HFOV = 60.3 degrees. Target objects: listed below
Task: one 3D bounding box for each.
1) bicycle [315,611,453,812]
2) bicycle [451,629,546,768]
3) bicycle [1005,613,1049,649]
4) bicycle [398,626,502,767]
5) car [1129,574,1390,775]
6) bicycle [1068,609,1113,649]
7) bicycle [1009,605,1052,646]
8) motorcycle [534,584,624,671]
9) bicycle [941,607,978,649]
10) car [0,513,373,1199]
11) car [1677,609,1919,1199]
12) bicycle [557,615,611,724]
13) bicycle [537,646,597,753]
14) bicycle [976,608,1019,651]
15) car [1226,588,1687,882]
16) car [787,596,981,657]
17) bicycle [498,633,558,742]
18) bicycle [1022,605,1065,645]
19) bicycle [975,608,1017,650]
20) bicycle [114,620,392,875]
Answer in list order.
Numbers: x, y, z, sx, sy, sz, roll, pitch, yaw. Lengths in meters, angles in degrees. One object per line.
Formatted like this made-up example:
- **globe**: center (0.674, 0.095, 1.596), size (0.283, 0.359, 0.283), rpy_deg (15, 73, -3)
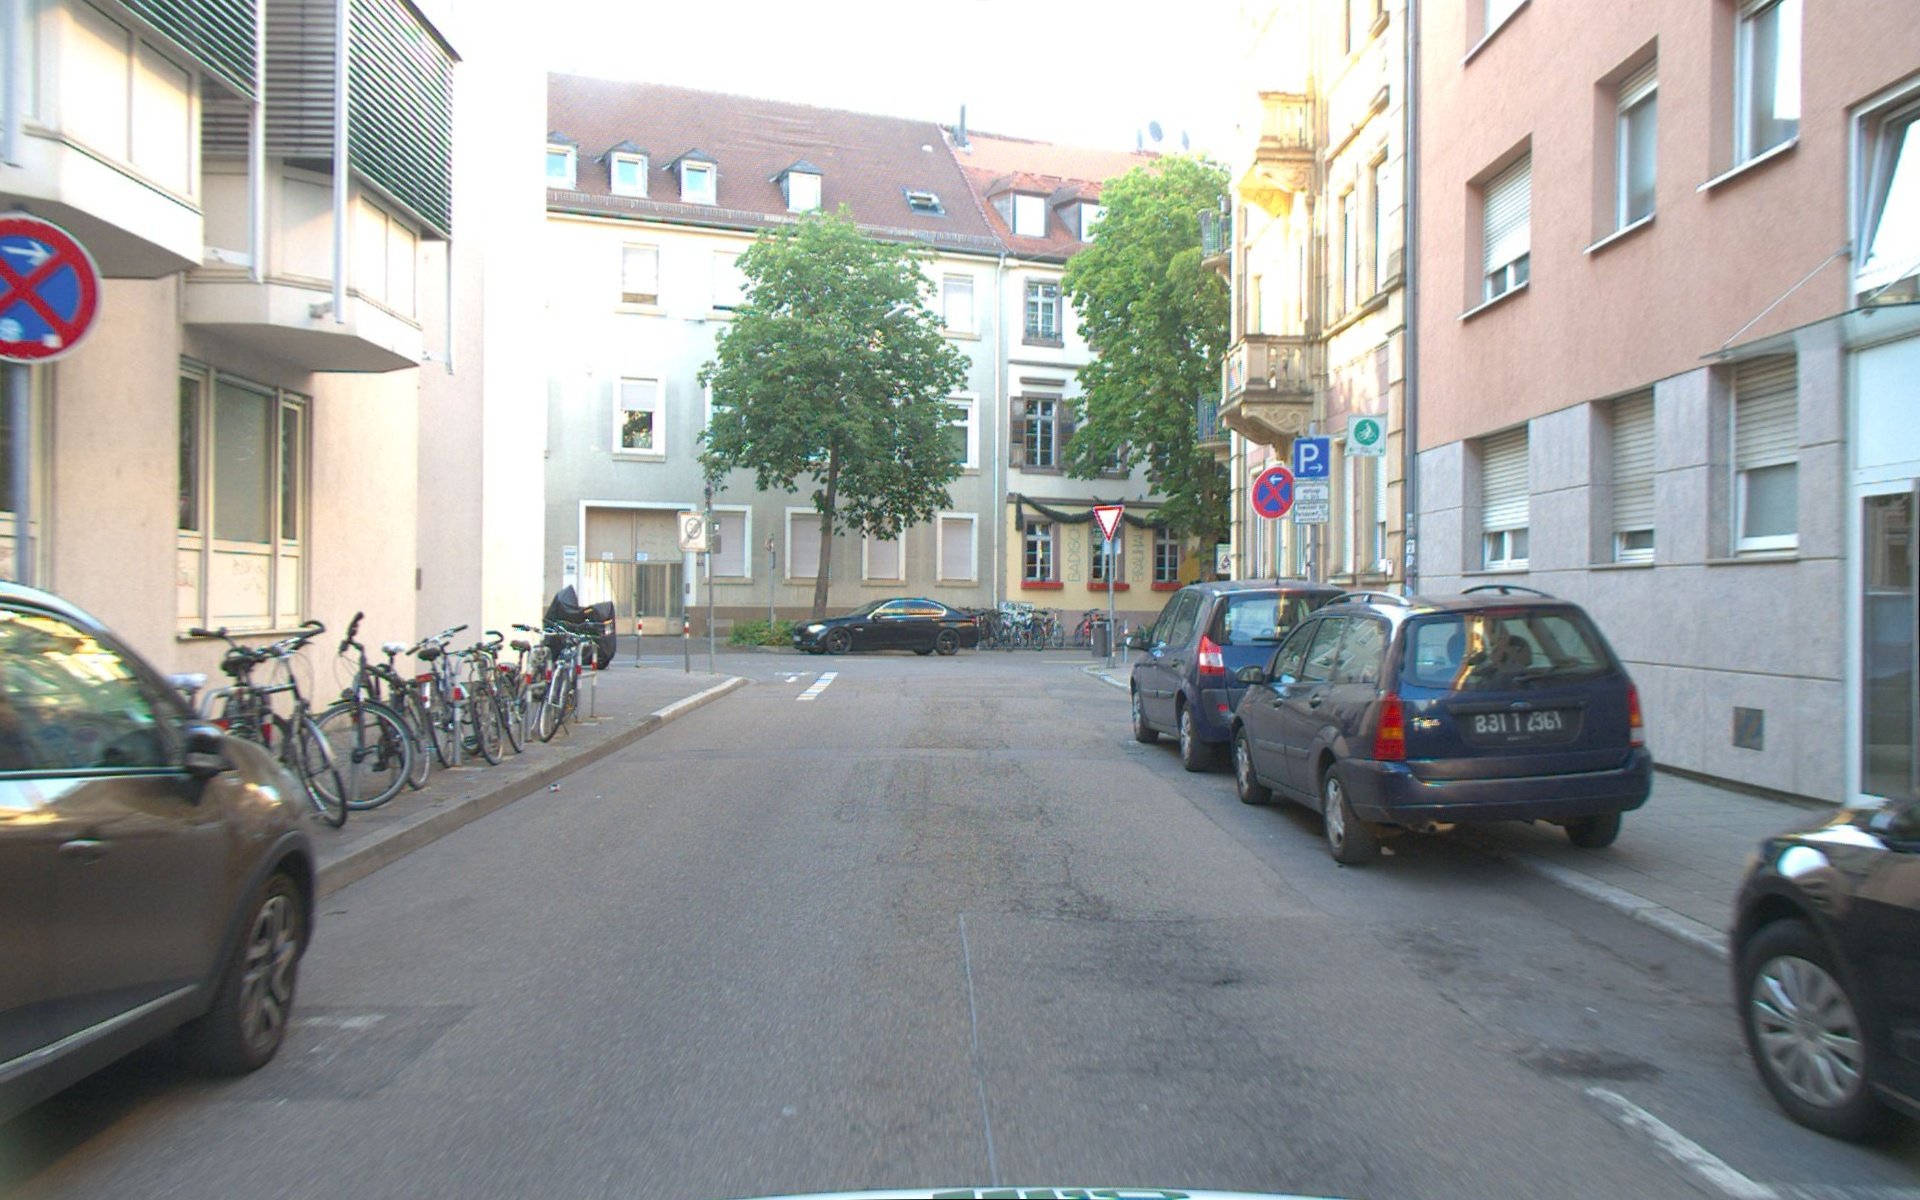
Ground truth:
- **bicycle**: center (-3.895, 0.705, 11.297), size (0.300, 1.244, 1.813), rpy_deg (1, 0, 0)
- **bicycle**: center (-3.883, 0.793, 14.020), size (0.300, 1.060, 1.813), rpy_deg (0, 0, 0)
- **bicycle**: center (1.924, 0.880, 47.573), size (0.414, 1.021, 2.027), rpy_deg (0, 0, -24)
- **bicycle**: center (-4.215, 0.765, 13.766), size (0.300, 1.060, 1.813), rpy_deg (1, 0, 0)
- **car**: center (2.681, 0.608, 15.669), size (1.655, 1.653, 4.053), rpy_deg (0, 0, -1)
- **bicycle**: center (3.846, 0.839, 48.738), size (0.414, 1.165, 2.027), rpy_deg (0, 0, -24)
- **bicycle**: center (2.074, 0.747, 48.979), size (0.414, 1.165, 2.027), rpy_deg (0, 0, -24)
- **motorcycle**: center (-7.162, 0.503, 31.037), size (0.664, 1.583, 2.128), rpy_deg (0, 0, -43)
- **bicycle**: center (-0.030, 0.799, 47.983), size (0.438, 1.165, 2.030), rpy_deg (0, 0, -19)
- **car**: center (-2.961, 0.611, 4.059), size (1.755, 1.604, 4.068), rpy_deg (0, 0, -3)
- **car**: center (3.274, 0.780, 3.501), size (1.655, 1.483, 4.131), rpy_deg (0, 0, -1)
- **bicycle**: center (-4.163, 0.744, 18.369), size (0.392, 1.121, 1.810), rpy_deg (1, 0, -7)
- **bicycle**: center (-3.903, 0.962, 16.487), size (0.301, 0.948, 1.811), rpy_deg (1, 0, -4)
- **bicycle**: center (1.037, 0.808, 46.558), size (0.439, 1.165, 2.028), rpy_deg (0, 0, -22)
- **car**: center (2.955, 0.702, 10.829), size (1.655, 1.540, 4.282), rpy_deg (0, 0, -1)
- **car**: center (-1.912, 0.636, 41.734), size (4.589, 1.475, 1.756), rpy_deg (0, 0, -23)
- **bicycle**: center (-4.182, 0.823, 16.075), size (0.301, 0.948, 1.810), rpy_deg (1, 0, -7)
- **bicycle**: center (2.489, 0.721, 49.278), size (0.414, 1.165, 2.027), rpy_deg (0, 0, -24)
- **bicycle**: center (1.036, 0.835, 48.317), size (0.414, 1.165, 2.027), rpy_deg (0, 0, -24)
- **bicycle**: center (-3.845, 0.735, 9.218), size (0.583, 1.208, 2.265), rpy_deg (0, 0, 0)
